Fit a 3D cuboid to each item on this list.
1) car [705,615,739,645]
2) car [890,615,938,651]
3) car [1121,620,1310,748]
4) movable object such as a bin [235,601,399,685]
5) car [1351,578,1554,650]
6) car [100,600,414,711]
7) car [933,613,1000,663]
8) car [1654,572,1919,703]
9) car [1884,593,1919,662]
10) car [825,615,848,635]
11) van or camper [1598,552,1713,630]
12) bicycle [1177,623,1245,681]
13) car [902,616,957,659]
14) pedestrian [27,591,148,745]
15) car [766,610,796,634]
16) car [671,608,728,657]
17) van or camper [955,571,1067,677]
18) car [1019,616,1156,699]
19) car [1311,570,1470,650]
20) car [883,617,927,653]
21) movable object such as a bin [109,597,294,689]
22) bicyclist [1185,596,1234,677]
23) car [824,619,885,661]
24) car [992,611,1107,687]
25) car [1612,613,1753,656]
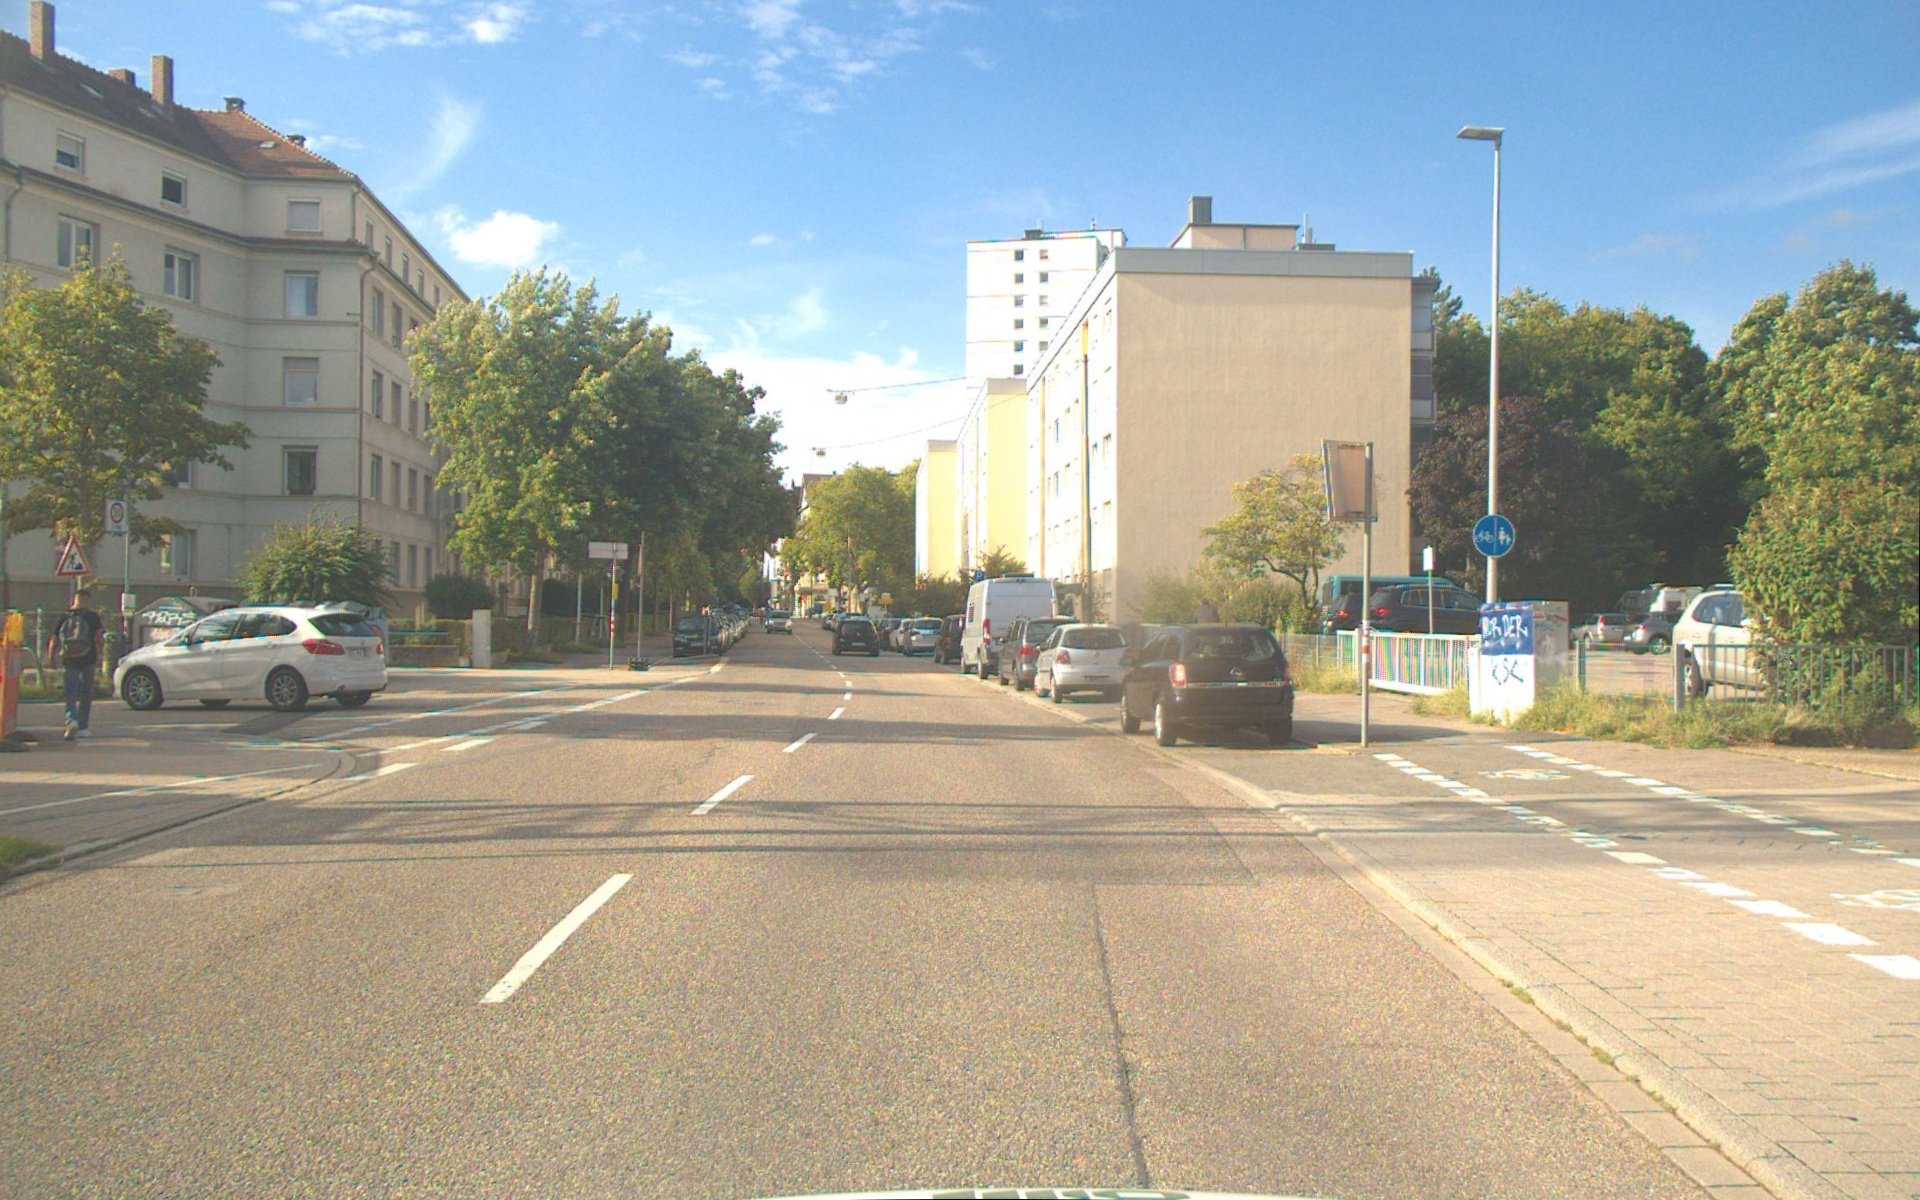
[{"bbox_3d":[-12.989,1.611,90.138,1.774,1.588,3.426,-1,0,-10],"label":"car"},{"bbox_3d":[-2.082,1.442,73.435,1.954,1.557,3.996,-1,0,-4],"label":"car"},{"bbox_3d":[3.261,1.046,21.869,1.683,1.522,4.266,0,-1,-2],"label":"car"},{"bbox_3d":[-14.129,0.931,36.412,3.037,1.738,1.411,1,-1,10],"label":"movable object such as a bin"},{"bbox_3d":[11.934,0.337,40.275,4.357,1.650,2.000,-1,-1,0],"label":"car"},{"bbox_3d":[-11.040,0.853,26.068,4.169,1.582,2.001,1,-1,15],"label":"car"},{"bbox_3d":[0.178,1.237,55.225,1.954,1.601,3.996,-1,0,-4],"label":"car"},{"bbox_3d":[11.874,0.504,23.713,1.954,1.695,4.149,-1,0,-3],"label":"car"},{"bbox_3d":[21.314,0.566,34.217,1.954,1.467,3.996,-1,0,-4],"label":"car"},{"bbox_3d":[-11.351,2.271,151.889,1.954,1.786,3.997,1,-1,-3],"label":"car"},{"bbox_3d":[27.722,-0.322,66.103,2.282,2.925,5.120,-2,0,-1],"label":"van or camper"},{"bbox_3d":[4.905,0.999,32.514,0.725,1.053,2.760,-2,-1,-4],"label":"bicycle"},{"bbox_3d":[-1.238,1.457,65.702,1.954,1.601,3.996,-1,0,-4],"label":"car"},{"bbox_3d":[-10.330,0.800,19.622,0.990,1.758,1.173,1,-2,-15],"label":"pedestrian"},{"bbox_3d":[-13.198,1.603,121.851,2.018,1.693,3.917,-1,0,-10],"label":"car"},{"bbox_3d":[-9.459,1.155,60.051,1.957,1.669,3.991,0,0,-10],"label":"car"},{"bbox_3d":[1.286,0.618,44.359,2.167,2.653,5.362,0,0,-7],"label":"van or camper"},{"bbox_3d":[2.451,1.111,33.052,1.976,1.501,4.797,-1,-1,-5],"label":"car"},{"bbox_3d":[12.368,0.295,47.715,4.035,2.224,2.000,-1,-1,0],"label":"car"},{"bbox_3d":[-2.624,1.628,78.028,1.954,1.601,3.996,-1,0,-4],"label":"car"},{"bbox_3d":[-15.356,0.860,33.541,3.037,1.738,1.549,1,-1,11],"label":"movable object such as a bin"},{"bbox_3d":[4.898,0.713,32.488,0.722,1.540,0.874,-2,-1,-4],"label":"bicyclist"},{"bbox_3d":[-4.207,1.568,65.502,1.957,1.598,3.990,1,-1,-10],"label":"car"},{"bbox_3d":[1.996,1.079,38.343,1.955,1.644,4.401,0,0,-6],"label":"car"},{"bbox_3d":[24.334,1.148,55.790,3.909,1.352,1.998,-1,-1,-6],"label":"car"}]
